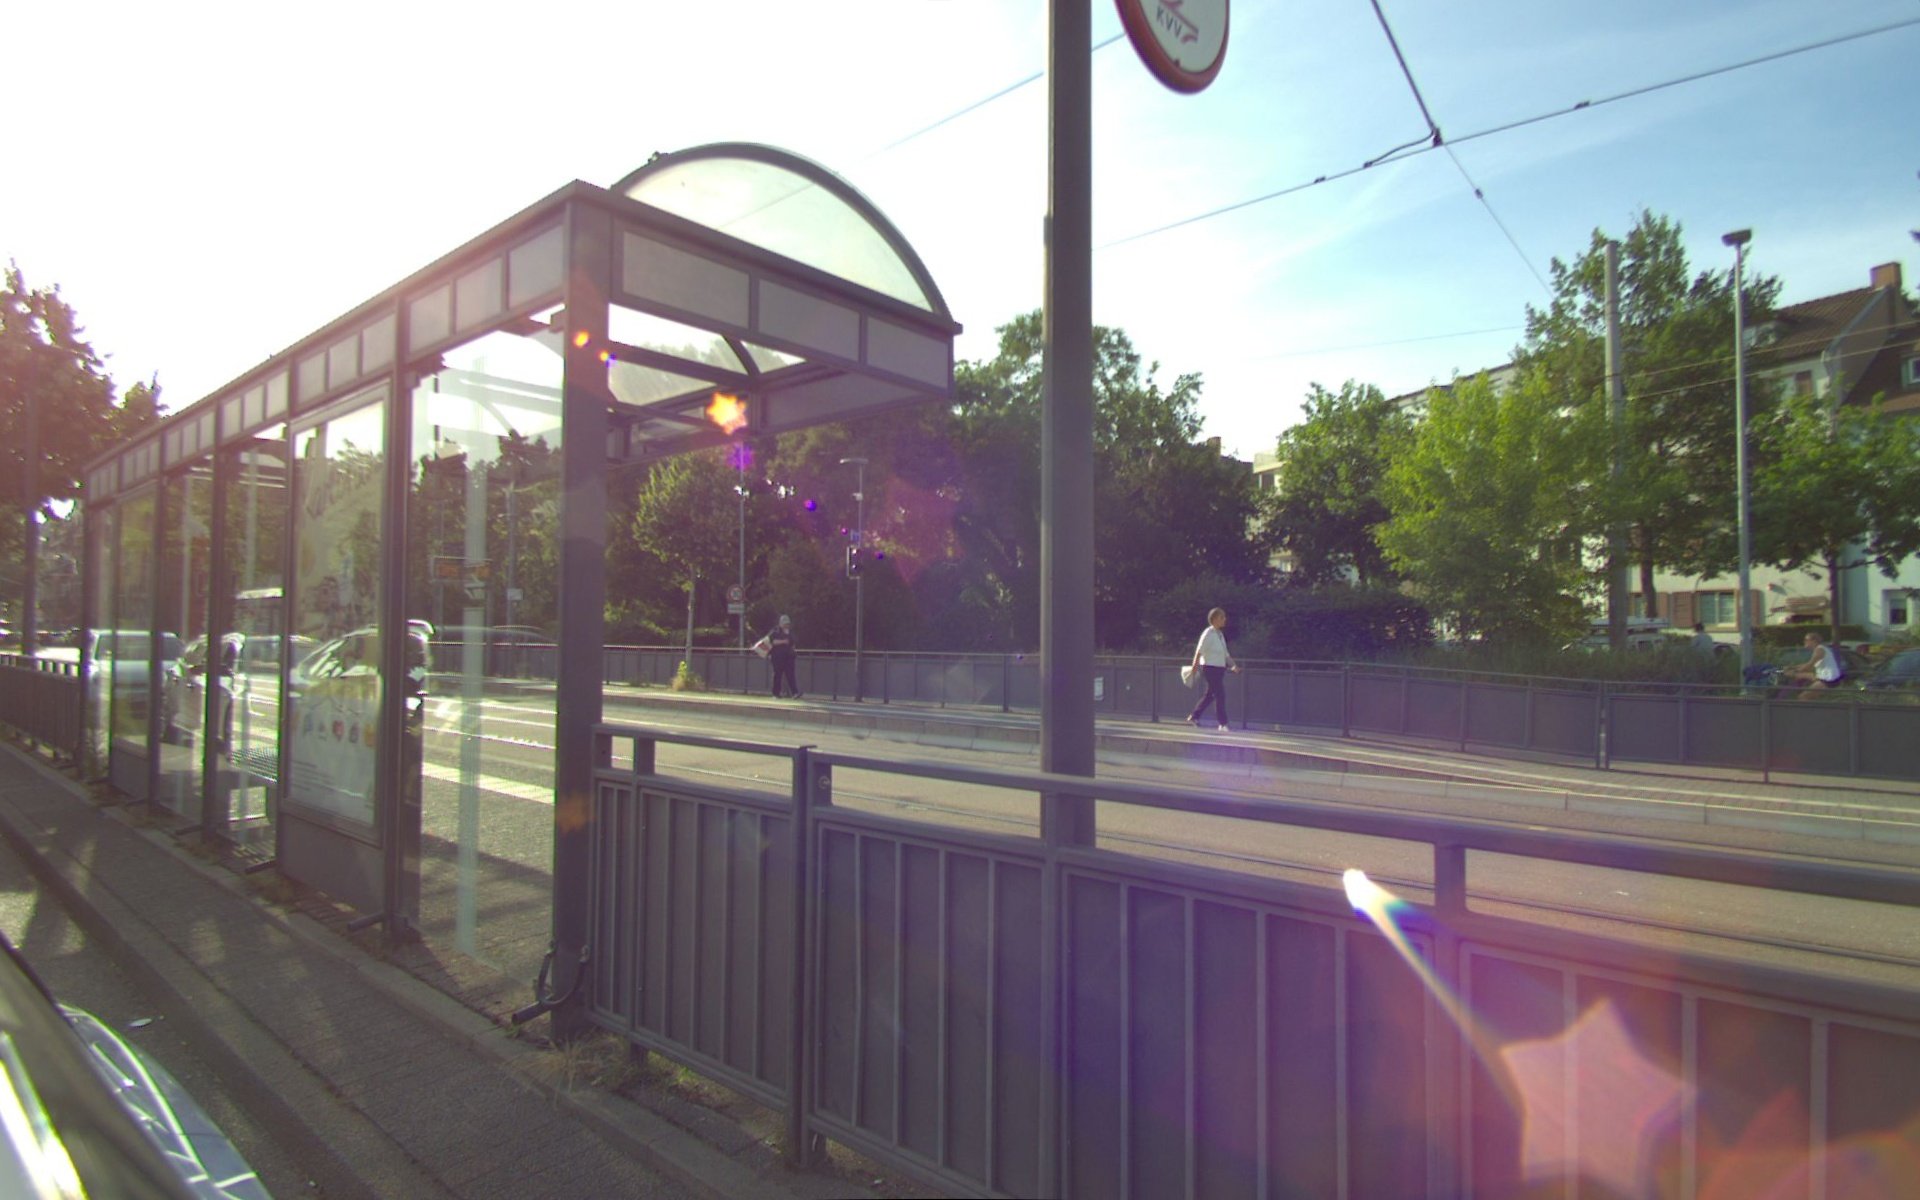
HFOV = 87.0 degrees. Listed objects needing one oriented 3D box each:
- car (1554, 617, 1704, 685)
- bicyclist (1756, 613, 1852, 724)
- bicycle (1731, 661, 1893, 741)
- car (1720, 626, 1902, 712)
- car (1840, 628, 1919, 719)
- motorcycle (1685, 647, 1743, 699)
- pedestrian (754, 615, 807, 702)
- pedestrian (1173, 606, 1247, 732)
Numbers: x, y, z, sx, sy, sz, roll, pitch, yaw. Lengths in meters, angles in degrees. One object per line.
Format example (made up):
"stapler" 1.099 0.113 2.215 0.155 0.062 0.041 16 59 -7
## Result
"car" 18.449 1.392 27.888 3.931 1.767 1.860 2 -3 -30
"bicyclist" 13.118 1.049 15.742 1.071 1.636 0.697 -2 -1 42
"bicycle" 13.190 1.533 15.712 1.864 1.118 0.718 -2 -1 42
"car" 18.993 1.487 22.569 3.931 1.767 1.860 2 -3 -30
"car" 20.205 1.493 20.917 3.931 1.767 1.860 2 -3 -30
"motorcycle" 15.695 1.510 21.080 0.919 1.059 0.495 -1 -3 35
"pedestrian" -3.480 1.124 19.632 0.689 1.640 0.727 -2 -3 41
"pedestrian" 3.374 0.915 13.667 0.727 1.640 0.699 -2 -3 41
